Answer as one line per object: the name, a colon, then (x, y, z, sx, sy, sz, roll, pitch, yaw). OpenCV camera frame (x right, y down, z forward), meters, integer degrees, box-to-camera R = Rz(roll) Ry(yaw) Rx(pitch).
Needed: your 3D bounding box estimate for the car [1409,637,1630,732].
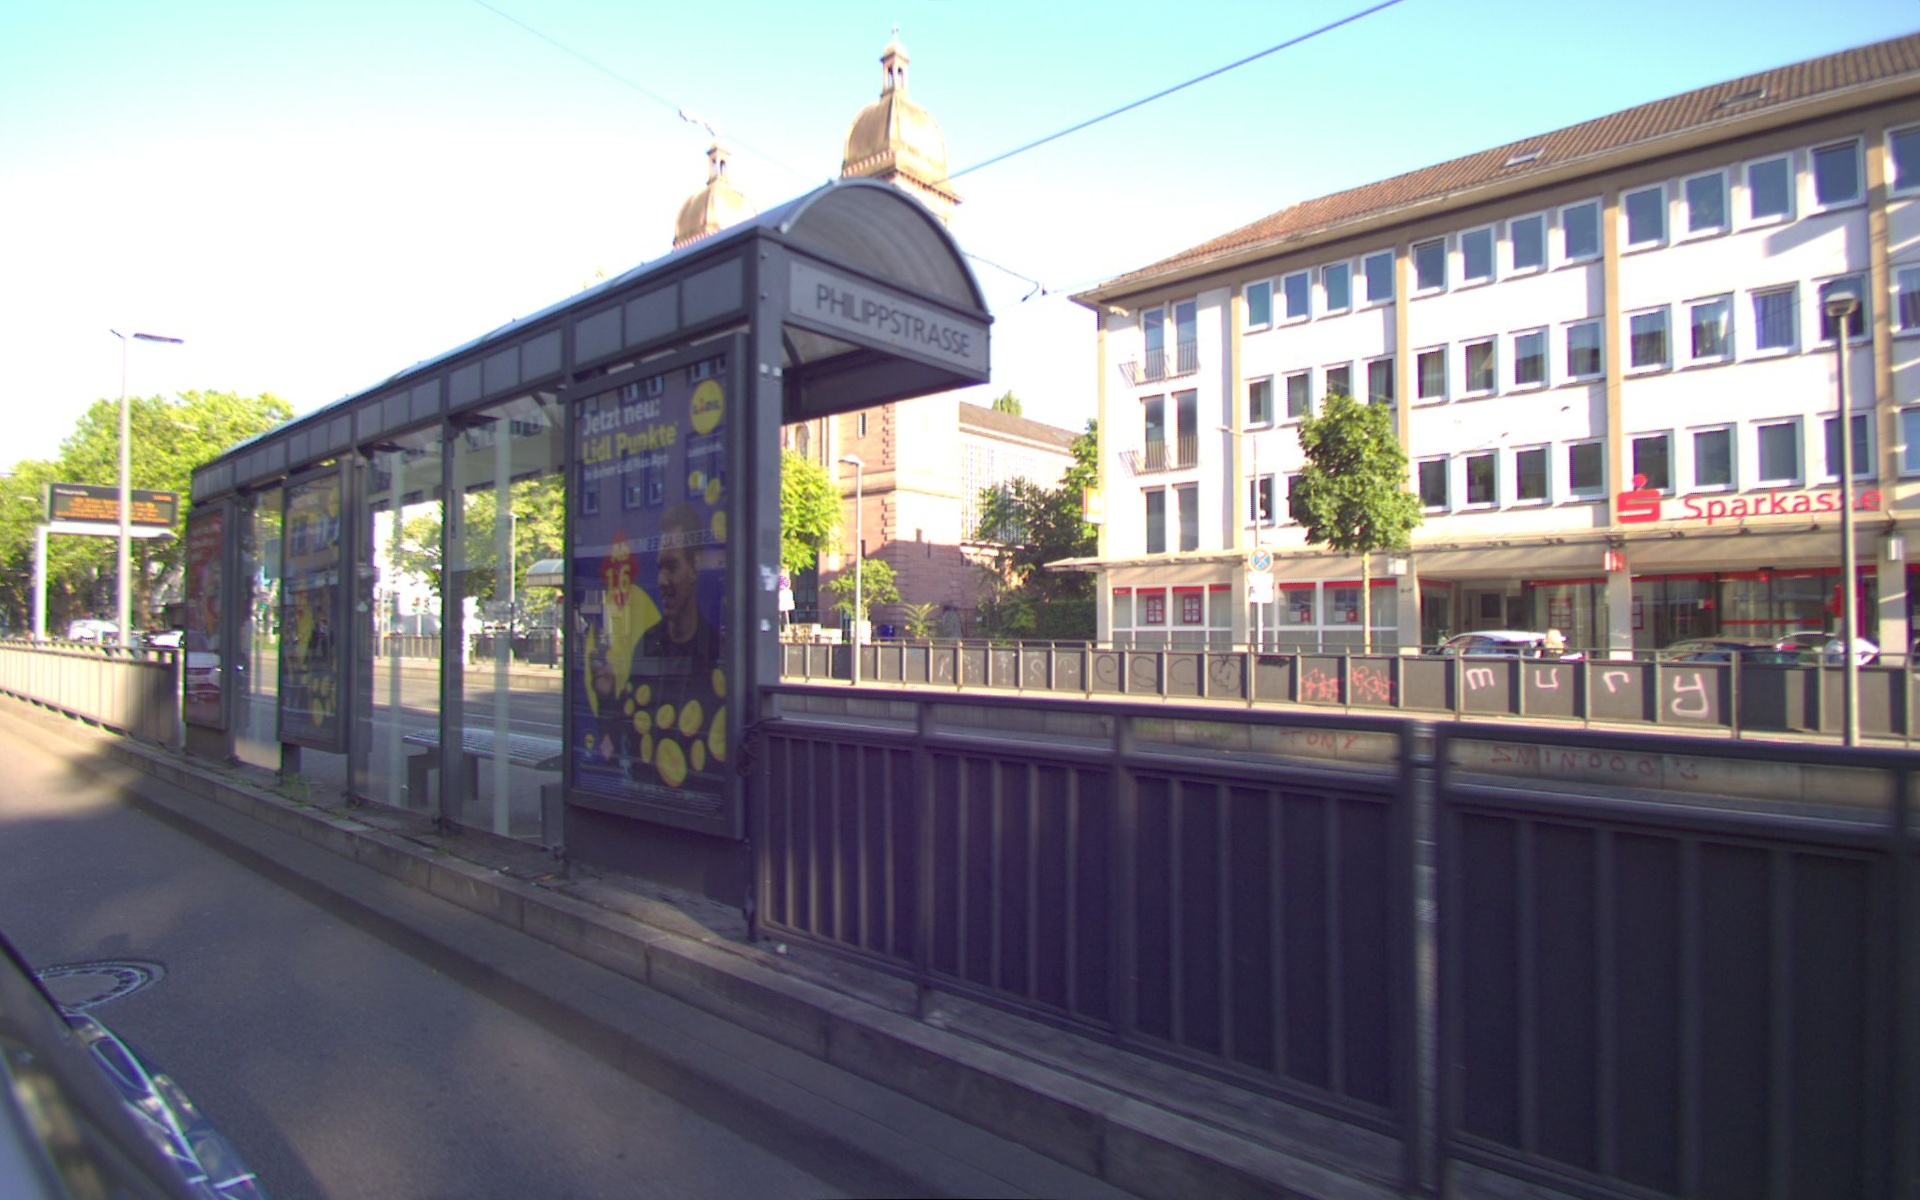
car: (10.729, 1.550, 19.777, 1.716, 1.497, 4.006, -1, 0, -7)

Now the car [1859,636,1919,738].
car: (16.078, 1.378, 14.930, 1.841, 1.541, 4.005, -1, 0, -5)

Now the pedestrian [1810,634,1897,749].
pedestrian: (14.607, 1.479, 16.561, 0.757, 1.801, 0.725, -1, 0, -2)
